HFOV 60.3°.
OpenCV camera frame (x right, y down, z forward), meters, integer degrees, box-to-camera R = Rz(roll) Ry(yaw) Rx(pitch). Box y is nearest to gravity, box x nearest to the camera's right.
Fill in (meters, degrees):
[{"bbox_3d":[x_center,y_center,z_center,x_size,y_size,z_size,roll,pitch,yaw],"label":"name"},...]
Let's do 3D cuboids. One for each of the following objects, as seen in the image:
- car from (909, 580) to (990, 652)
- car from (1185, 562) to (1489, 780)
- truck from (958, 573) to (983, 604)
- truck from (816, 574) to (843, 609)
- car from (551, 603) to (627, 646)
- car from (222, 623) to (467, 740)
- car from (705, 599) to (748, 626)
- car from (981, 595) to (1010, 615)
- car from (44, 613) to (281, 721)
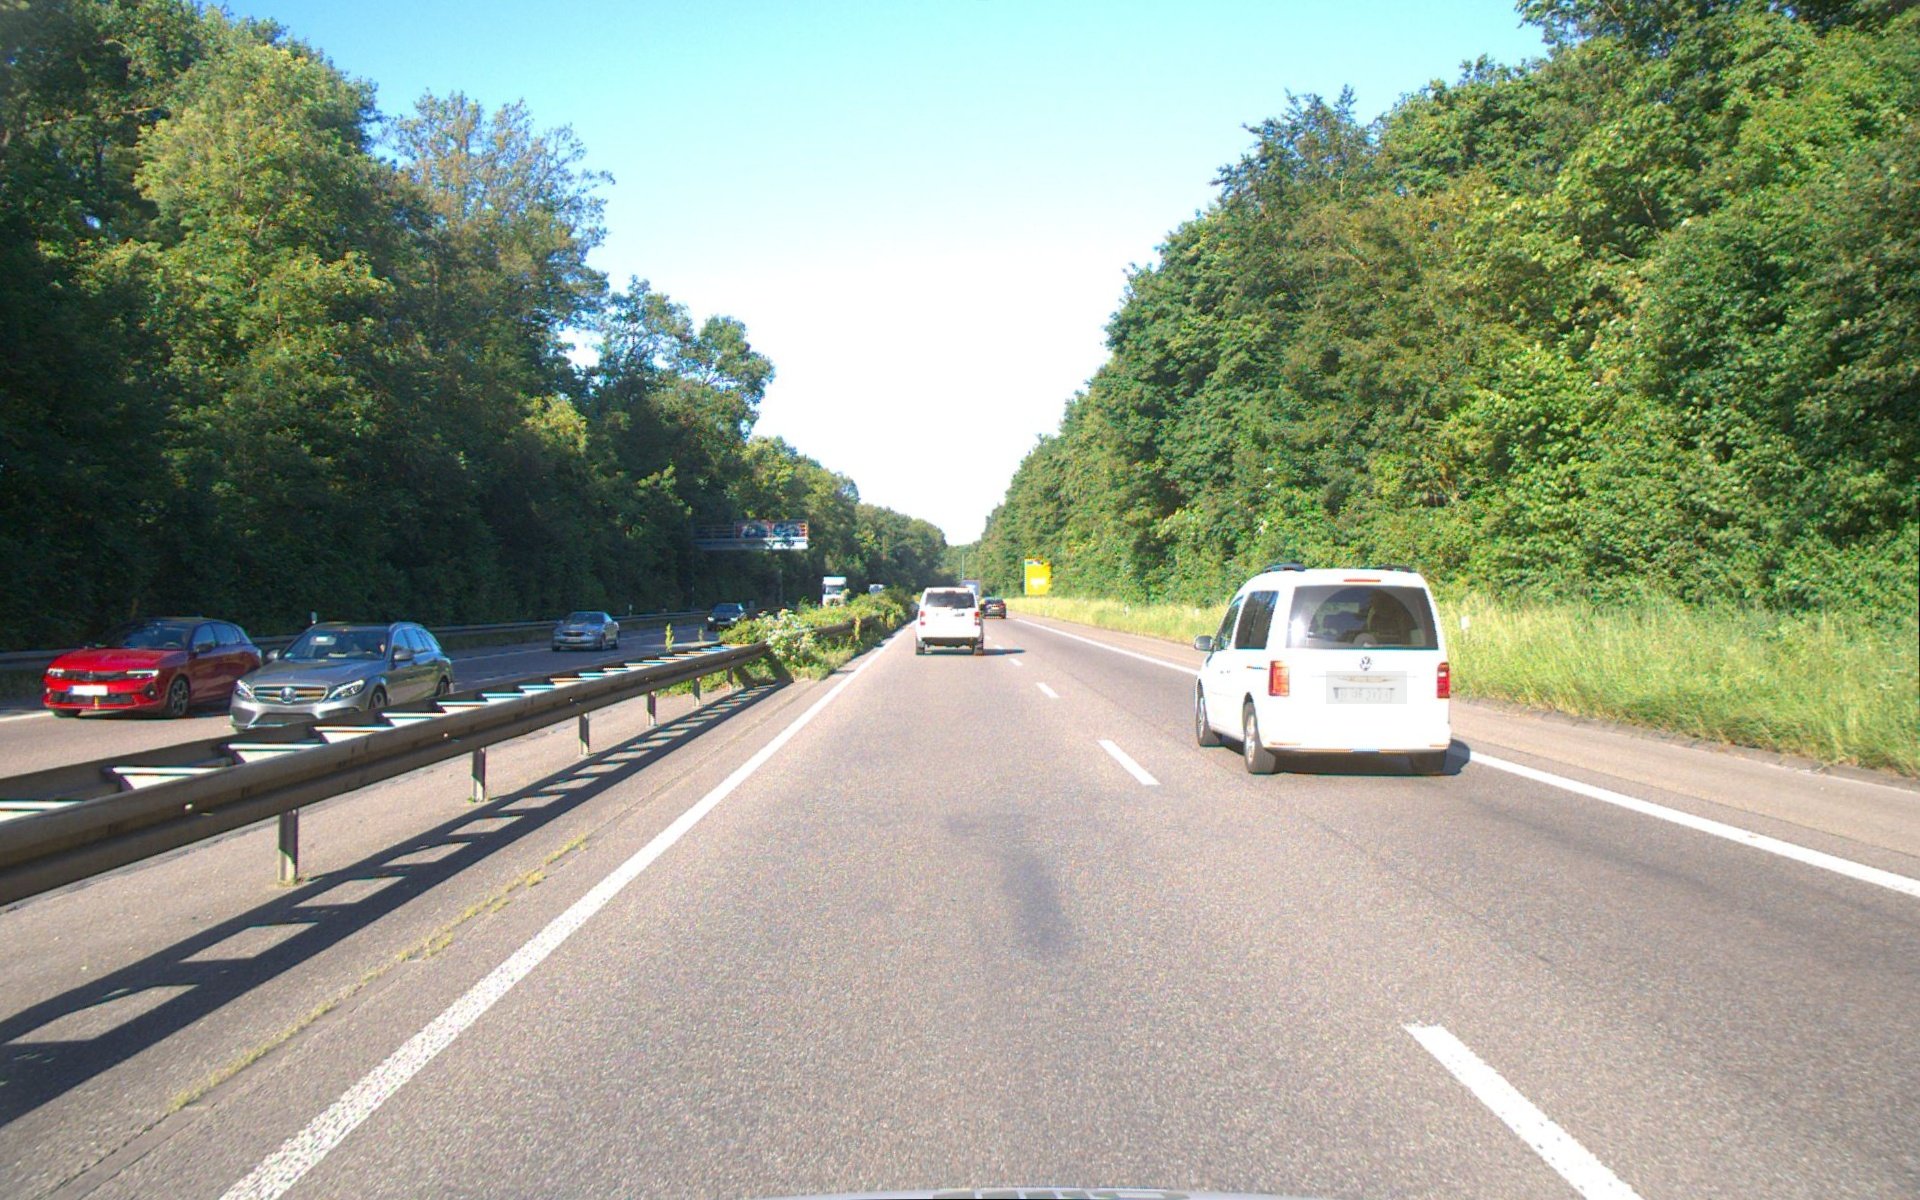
[{"bbox_3d":[-0.334,0.405,44.914,2.043,1.860,3.998,0,0,-3],"label":"car"},{"bbox_3d":[3.438,0.578,15.974,1.826,1.801,4.468,0,0,-1],"label":"car"},{"bbox_3d":[1.474,-1.653,235.179,3.425,4.245,8.860,-1,0,-1],"label":"truck"},{"bbox_3d":[-14.553,-0.897,184.491,2.706,3.777,7.853,-1,0,-3],"label":"truck"},{"bbox_3d":[-12.547,0.803,56.125,1.683,1.380,4.227,-1,0,-1],"label":"car"},{"bbox_3d":[-8.349,1.042,22.878,1.798,1.380,4.474,0,0,-1],"label":"car"},{"bbox_3d":[-12.432,0.668,88.275,1.682,1.380,3.946,1,0,0],"label":"car"},{"bbox_3d":[2.620,0.338,122.661,1.953,1.422,3.999,1,0,-1],"label":"car"},{"bbox_3d":[-12.234,0.970,25.689,1.683,1.470,4.227,-1,0,-1],"label":"car"}]
